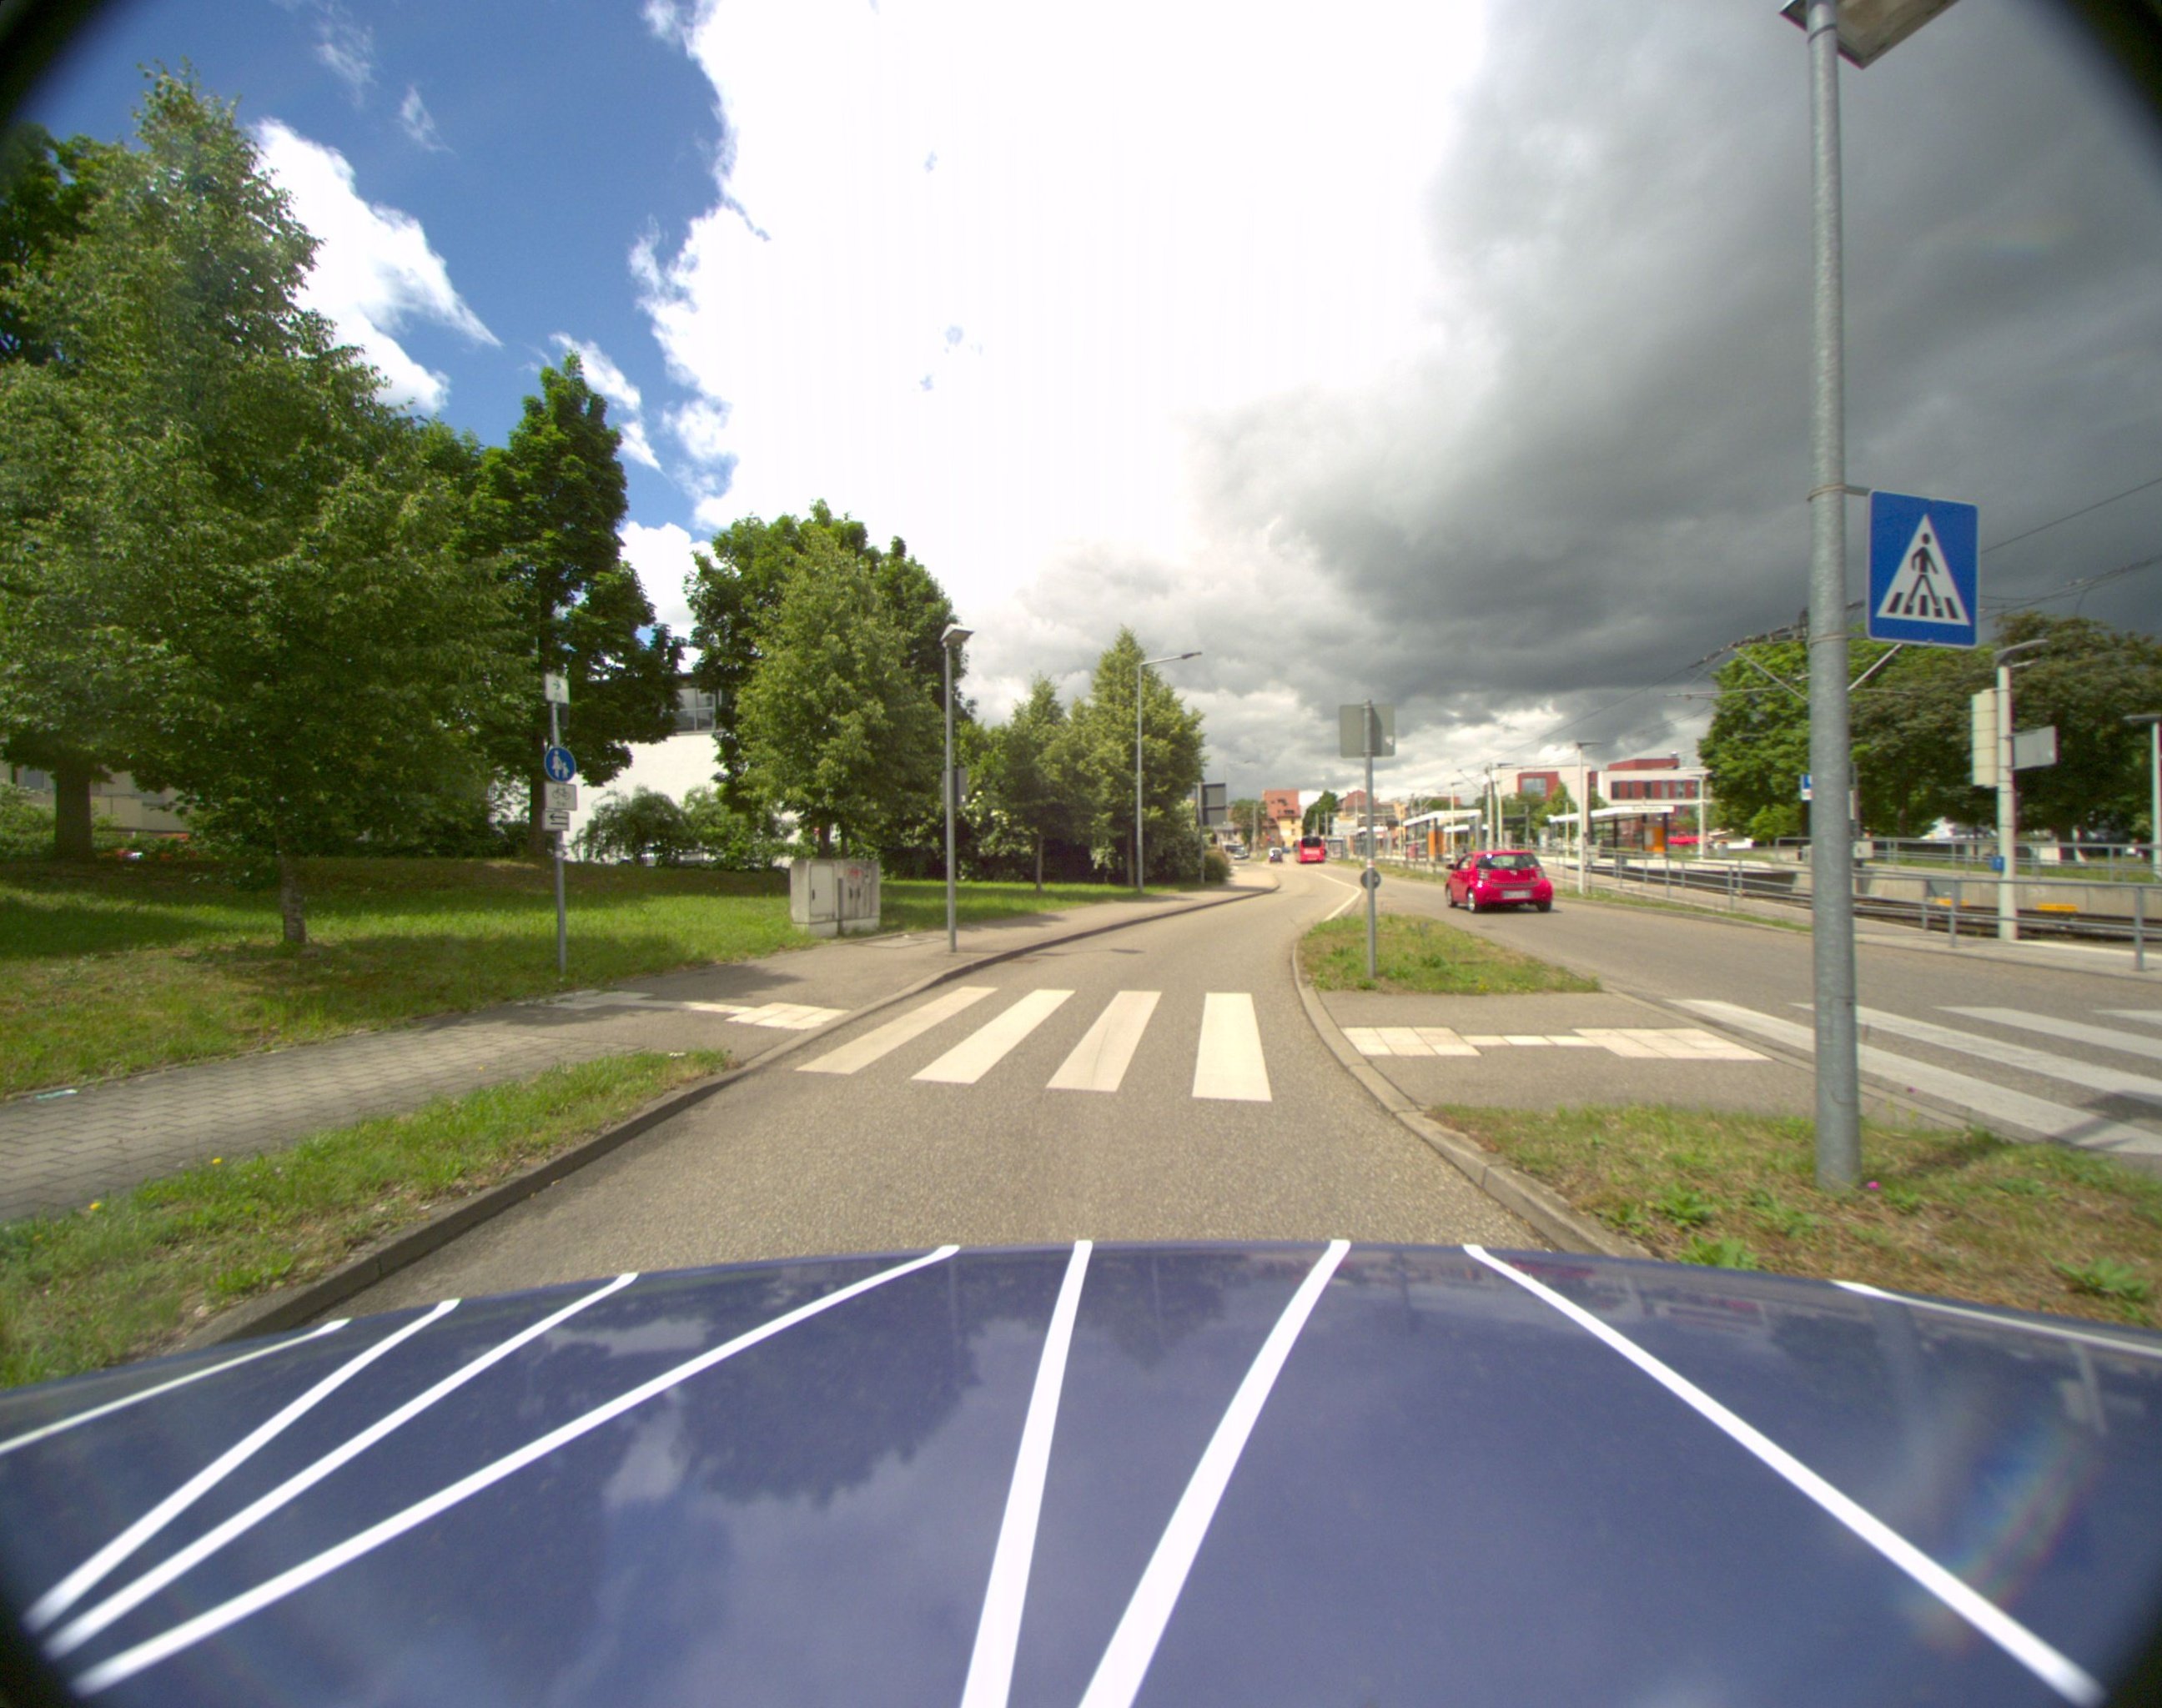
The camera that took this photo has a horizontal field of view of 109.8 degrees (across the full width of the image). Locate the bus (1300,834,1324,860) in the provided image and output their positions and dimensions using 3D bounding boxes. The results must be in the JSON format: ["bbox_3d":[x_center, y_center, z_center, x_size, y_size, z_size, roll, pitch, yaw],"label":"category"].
[{"bbox_3d":[29.211,-0.861,96.099,2.729,3.091,9.715,-1,0,16],"label":"bus"}]

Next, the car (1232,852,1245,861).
[{"bbox_3d":[25.990,0.368,125.351,1.880,1.420,4.005,-1,-1,16],"label":"car"}]

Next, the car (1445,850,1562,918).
[{"bbox_3d":[10.087,0.686,18.353,1.722,1.494,2.970,-1,0,13],"label":"car"}]

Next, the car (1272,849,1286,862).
[{"bbox_3d":[24.806,0.133,95.208,1.532,1.542,3.736,-2,0,16],"label":"car"}]

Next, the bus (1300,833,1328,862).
[{"bbox_3d":[26.637,-0.731,87.090,2.730,3.052,8.973,-1,0,15],"label":"bus"}]

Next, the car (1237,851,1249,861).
[{"bbox_3d":[28.156,0.332,131.625,1.996,1.639,4.425,-1,-1,12],"label":"car"}]

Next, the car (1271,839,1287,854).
[{"bbox_3d":[26.627,-0.981,102.309,1.764,1.652,4.513,0,-3,12],"label":"car"}]
